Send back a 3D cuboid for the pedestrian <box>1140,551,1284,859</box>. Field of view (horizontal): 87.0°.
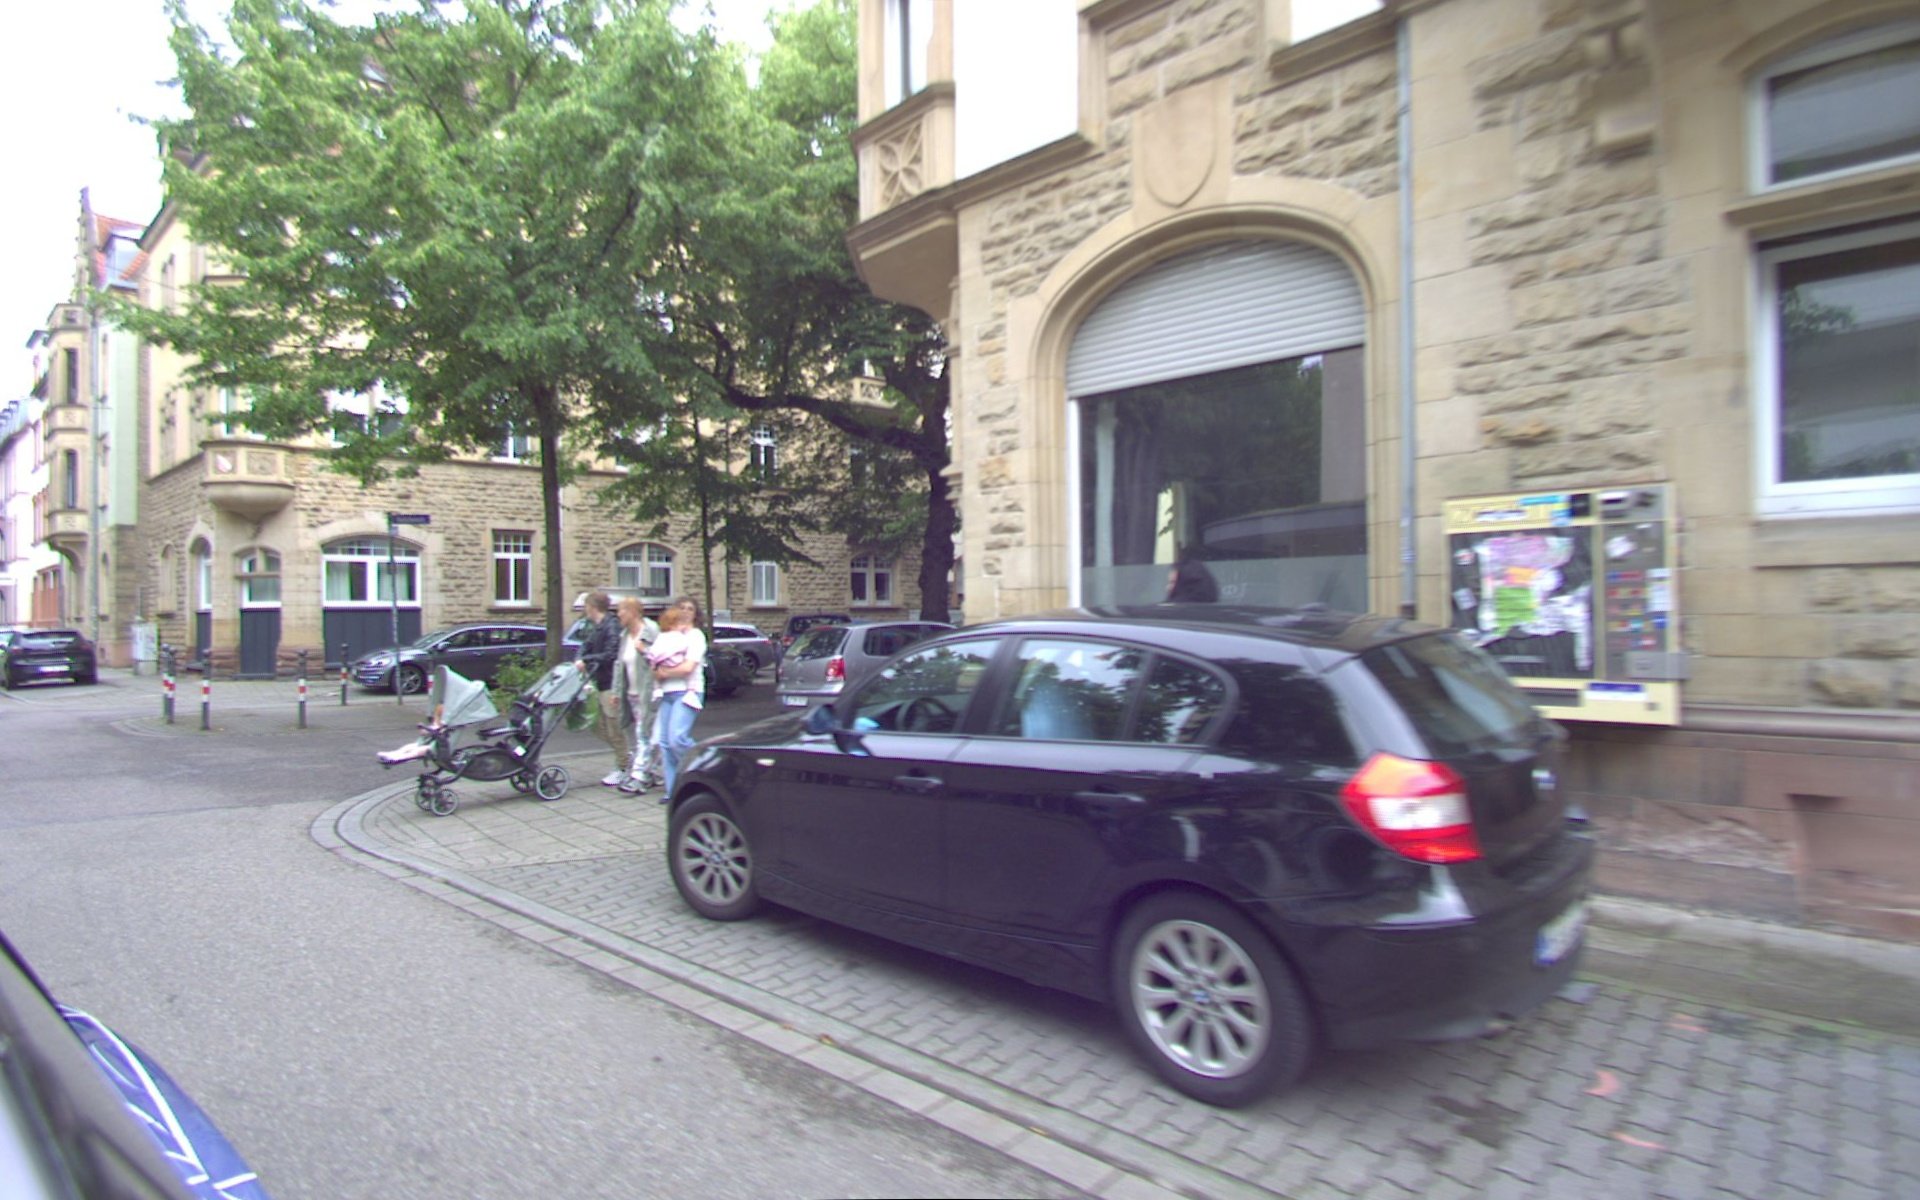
[{"bbox_3d":[1.349,0.525,5.411,0.546,1.530,0.510,-2,-2,42],"label":"pedestrian"}]

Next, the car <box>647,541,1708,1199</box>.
[{"bbox_3d":[0.494,0.544,4.193,4.001,1.505,1.690,2,3,43],"label":"car"}]

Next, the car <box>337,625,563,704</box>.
[{"bbox_3d":[-11.302,1.358,22.592,4.219,1.477,1.665,0,2,-41],"label":"car"}]

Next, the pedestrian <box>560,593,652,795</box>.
[{"bbox_3d":[-3.061,0.783,8.749,0.528,1.655,0.522,-2,0,45],"label":"pedestrian"}]

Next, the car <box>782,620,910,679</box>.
[{"bbox_3d":[-3.281,1.383,29.377,3.338,1.477,1.665,0,2,-41],"label":"car"}]

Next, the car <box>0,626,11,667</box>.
[{"bbox_3d":[-37.502,1.803,38.389,3.548,1.522,1.650,-2,-1,38],"label":"car"}]

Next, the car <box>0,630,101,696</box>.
[{"bbox_3d":[-22.824,1.526,25.131,3.880,1.445,1.709,-2,0,42],"label":"car"}]

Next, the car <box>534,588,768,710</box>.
[{"bbox_3d":[-5.550,0.841,18.103,3.945,1.983,1.815,-1,-1,30],"label":"car"}]

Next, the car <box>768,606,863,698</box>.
[{"bbox_3d":[-3.033,0.970,20.678,1.627,1.527,3.623,-1,2,-13],"label":"car"}]

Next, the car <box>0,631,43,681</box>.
[{"bbox_3d":[-30.137,1.766,31.731,3.807,1.445,1.573,-2,0,41],"label":"car"}]

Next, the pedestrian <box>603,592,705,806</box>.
[{"bbox_3d":[-2.518,0.776,8.316,0.608,1.656,0.605,-1,-1,-36],"label":"pedestrian"}]

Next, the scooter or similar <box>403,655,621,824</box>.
[{"bbox_3d":[-3.585,1.063,8.135,1.450,1.112,0.677,-3,0,-37],"label":"scooter or similar"}]

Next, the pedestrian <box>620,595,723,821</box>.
[{"bbox_3d":[-2.159,0.778,7.644,0.622,1.606,0.671,-1,-1,-7],"label":"pedestrian"}]

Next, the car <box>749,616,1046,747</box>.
[{"bbox_3d":[-0.749,0.993,13.132,3.523,1.471,1.652,1,-4,-39],"label":"car"}]

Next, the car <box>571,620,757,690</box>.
[{"bbox_3d":[-7.427,1.313,25.646,4.219,1.477,1.665,0,2,-41],"label":"car"}]

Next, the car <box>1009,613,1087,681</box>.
[{"bbox_3d":[2.214,1.091,24.987,1.758,1.492,3.651,1,0,7],"label":"car"}]
